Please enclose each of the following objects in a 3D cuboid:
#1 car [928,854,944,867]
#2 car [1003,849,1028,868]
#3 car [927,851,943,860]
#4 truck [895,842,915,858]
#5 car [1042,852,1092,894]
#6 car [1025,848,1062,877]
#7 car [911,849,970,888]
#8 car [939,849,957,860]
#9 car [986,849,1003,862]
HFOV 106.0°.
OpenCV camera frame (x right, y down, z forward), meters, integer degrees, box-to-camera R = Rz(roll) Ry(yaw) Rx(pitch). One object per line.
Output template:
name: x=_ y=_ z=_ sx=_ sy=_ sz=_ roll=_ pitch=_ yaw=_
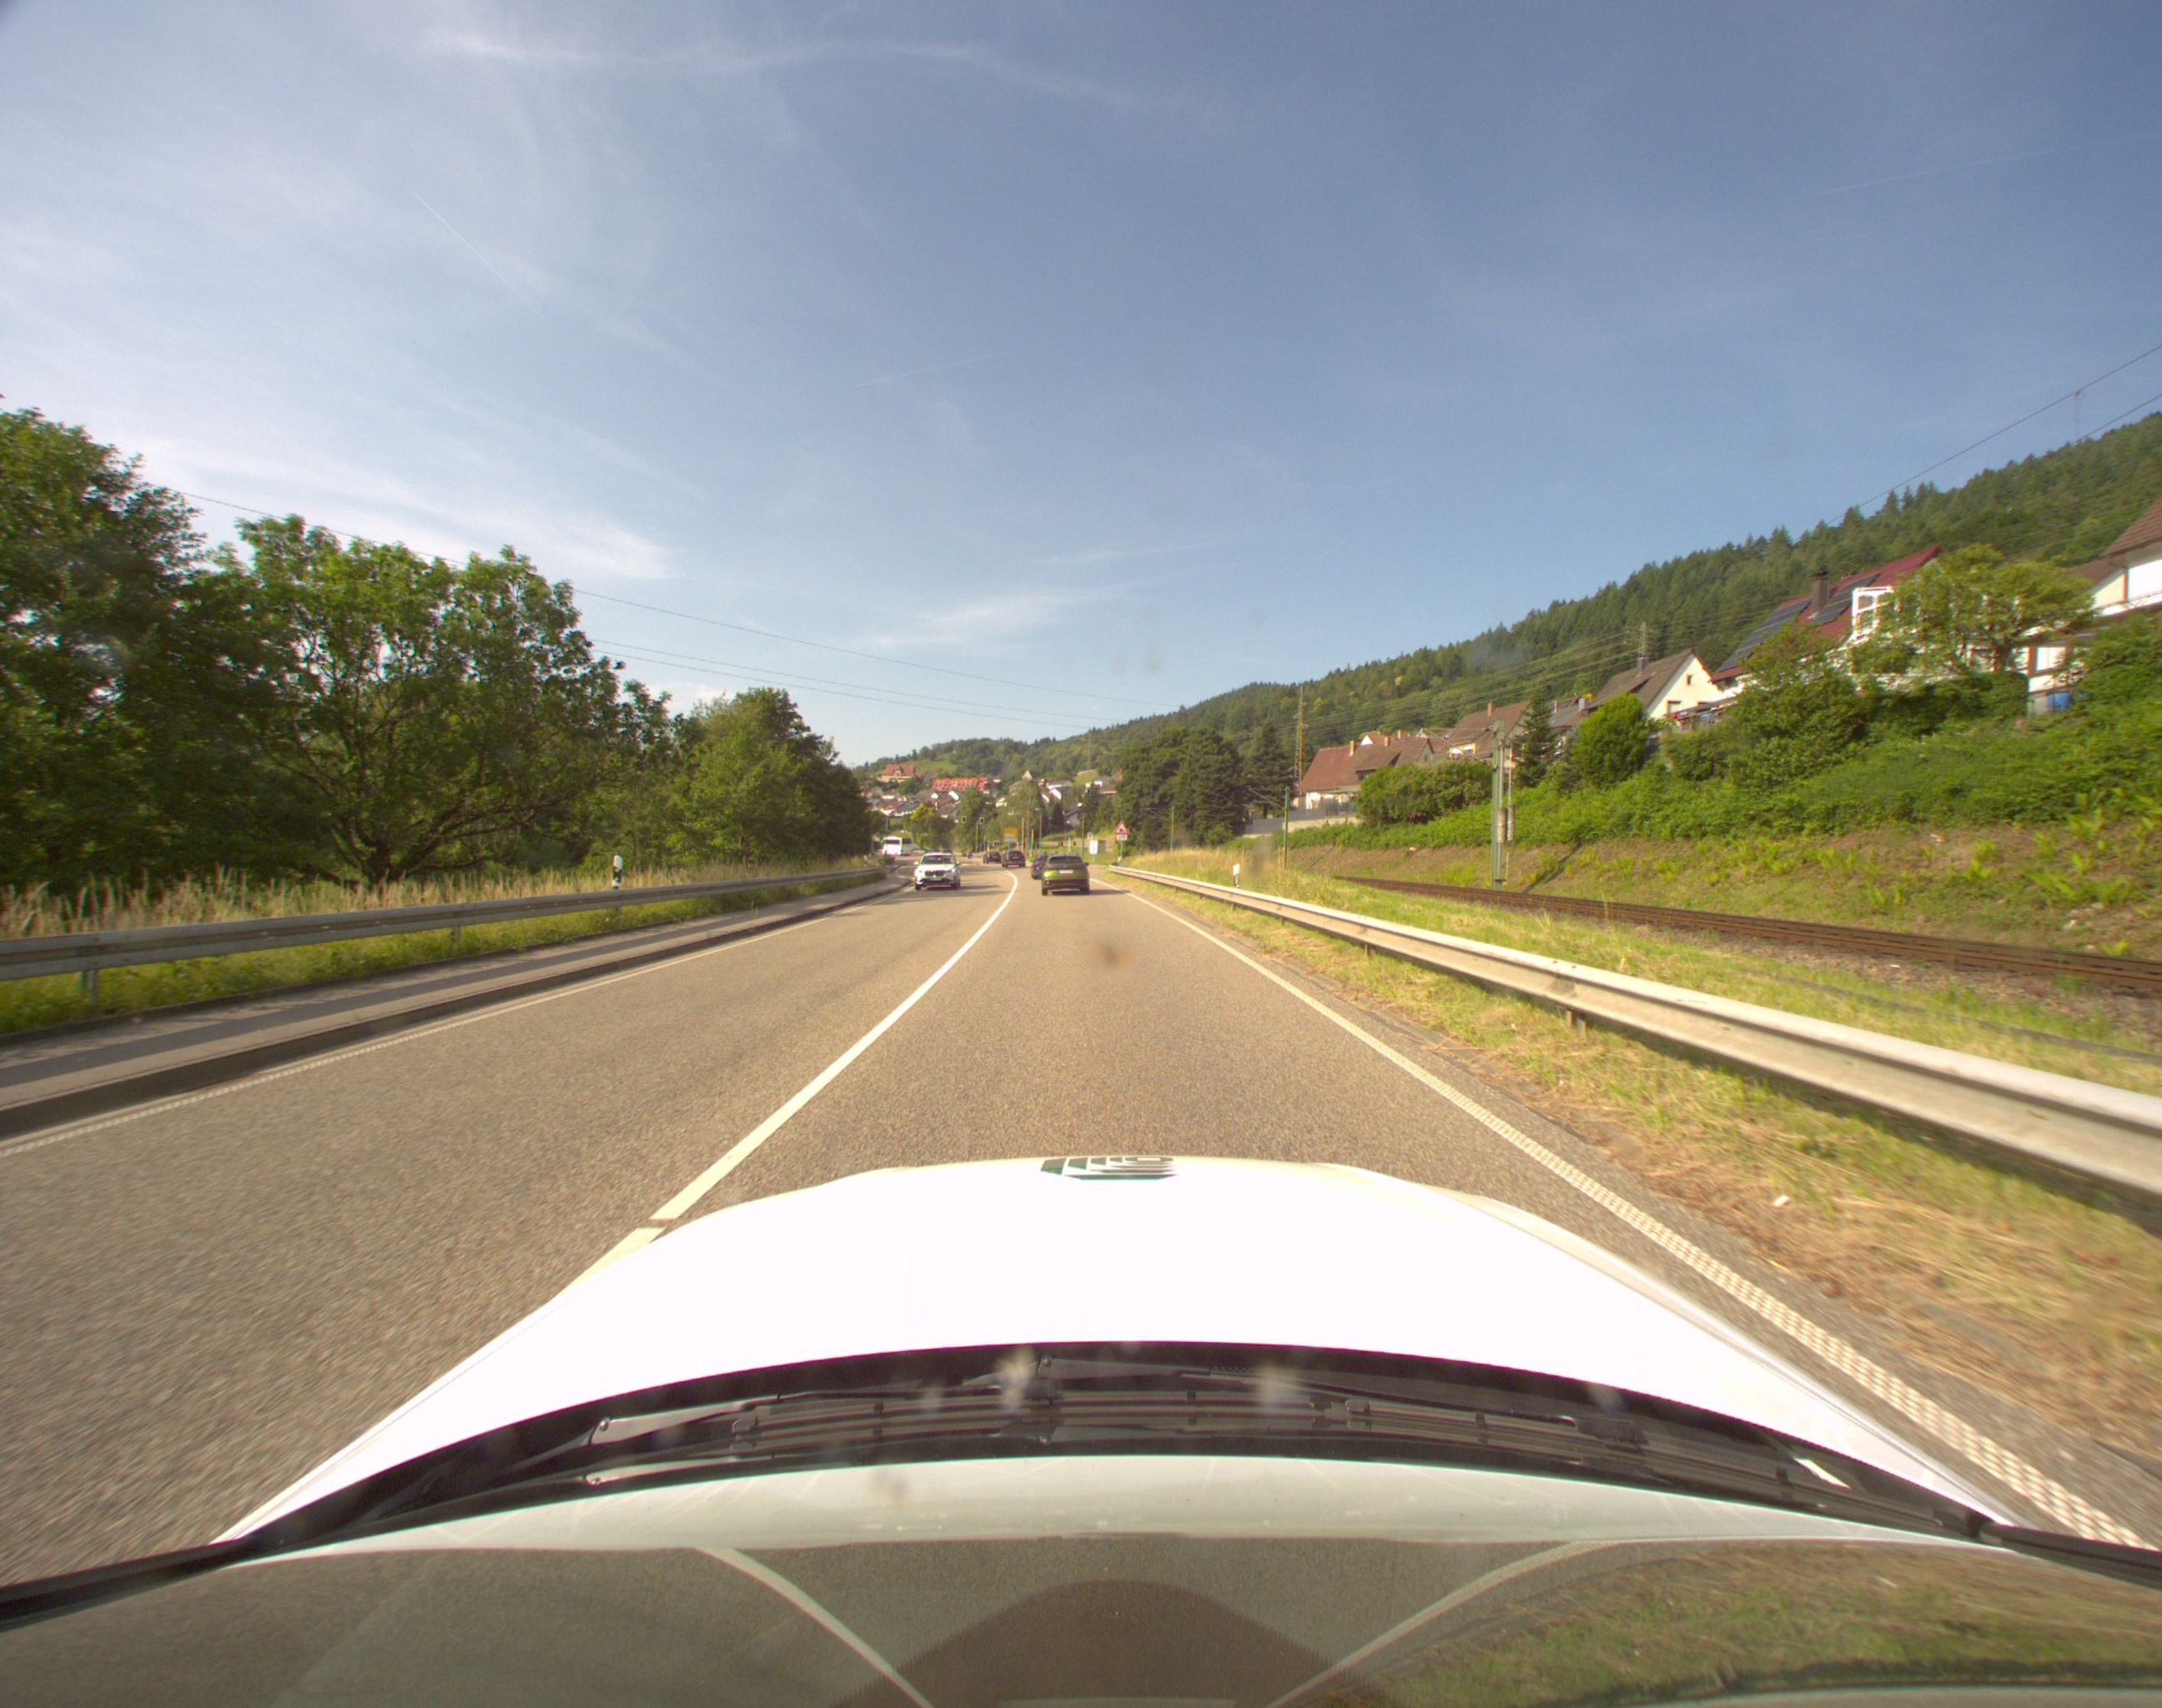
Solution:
car: x=-17.617 y=0.766 z=99.036 sx=1.891 sy=1.488 sz=3.986 roll=-2 pitch=0 yaw=-10
car: x=-6.159 y=0.401 z=76.353 sx=1.880 sy=1.686 sz=3.986 roll=-2 pitch=0 yaw=-10
car: x=-28.642 y=0.299 z=159.845 sx=2.004 sy=1.745 sz=3.965 roll=-1 pitch=0 yaw=-27
truck: x=-34.911 y=-0.861 z=161.478 sx=2.723 sy=3.083 sz=6.064 roll=-1 pitch=1 yaw=-22
car: x=-0.568 y=0.657 z=30.483 sx=1.710 sy=1.455 sz=3.997 roll=-1 pitch=0 yaw=-2
car: x=-2.186 y=0.475 z=46.611 sx=1.667 sy=1.559 sz=3.987 roll=-1 pitch=0 yaw=-9
car: x=-6.246 y=0.592 z=36.634 sx=1.988 sy=1.629 sz=3.998 roll=-1 pitch=0 yaw=-1
car: x=-21.767 y=0.090 z=133.416 sx=2.071 sy=1.811 sz=3.971 roll=-2 pitch=1 yaw=-22
car: x=-10.233 y=0.170 z=95.965 sx=1.849 sy=1.527 sz=3.650 roll=-1 pitch=1 yaw=-9
